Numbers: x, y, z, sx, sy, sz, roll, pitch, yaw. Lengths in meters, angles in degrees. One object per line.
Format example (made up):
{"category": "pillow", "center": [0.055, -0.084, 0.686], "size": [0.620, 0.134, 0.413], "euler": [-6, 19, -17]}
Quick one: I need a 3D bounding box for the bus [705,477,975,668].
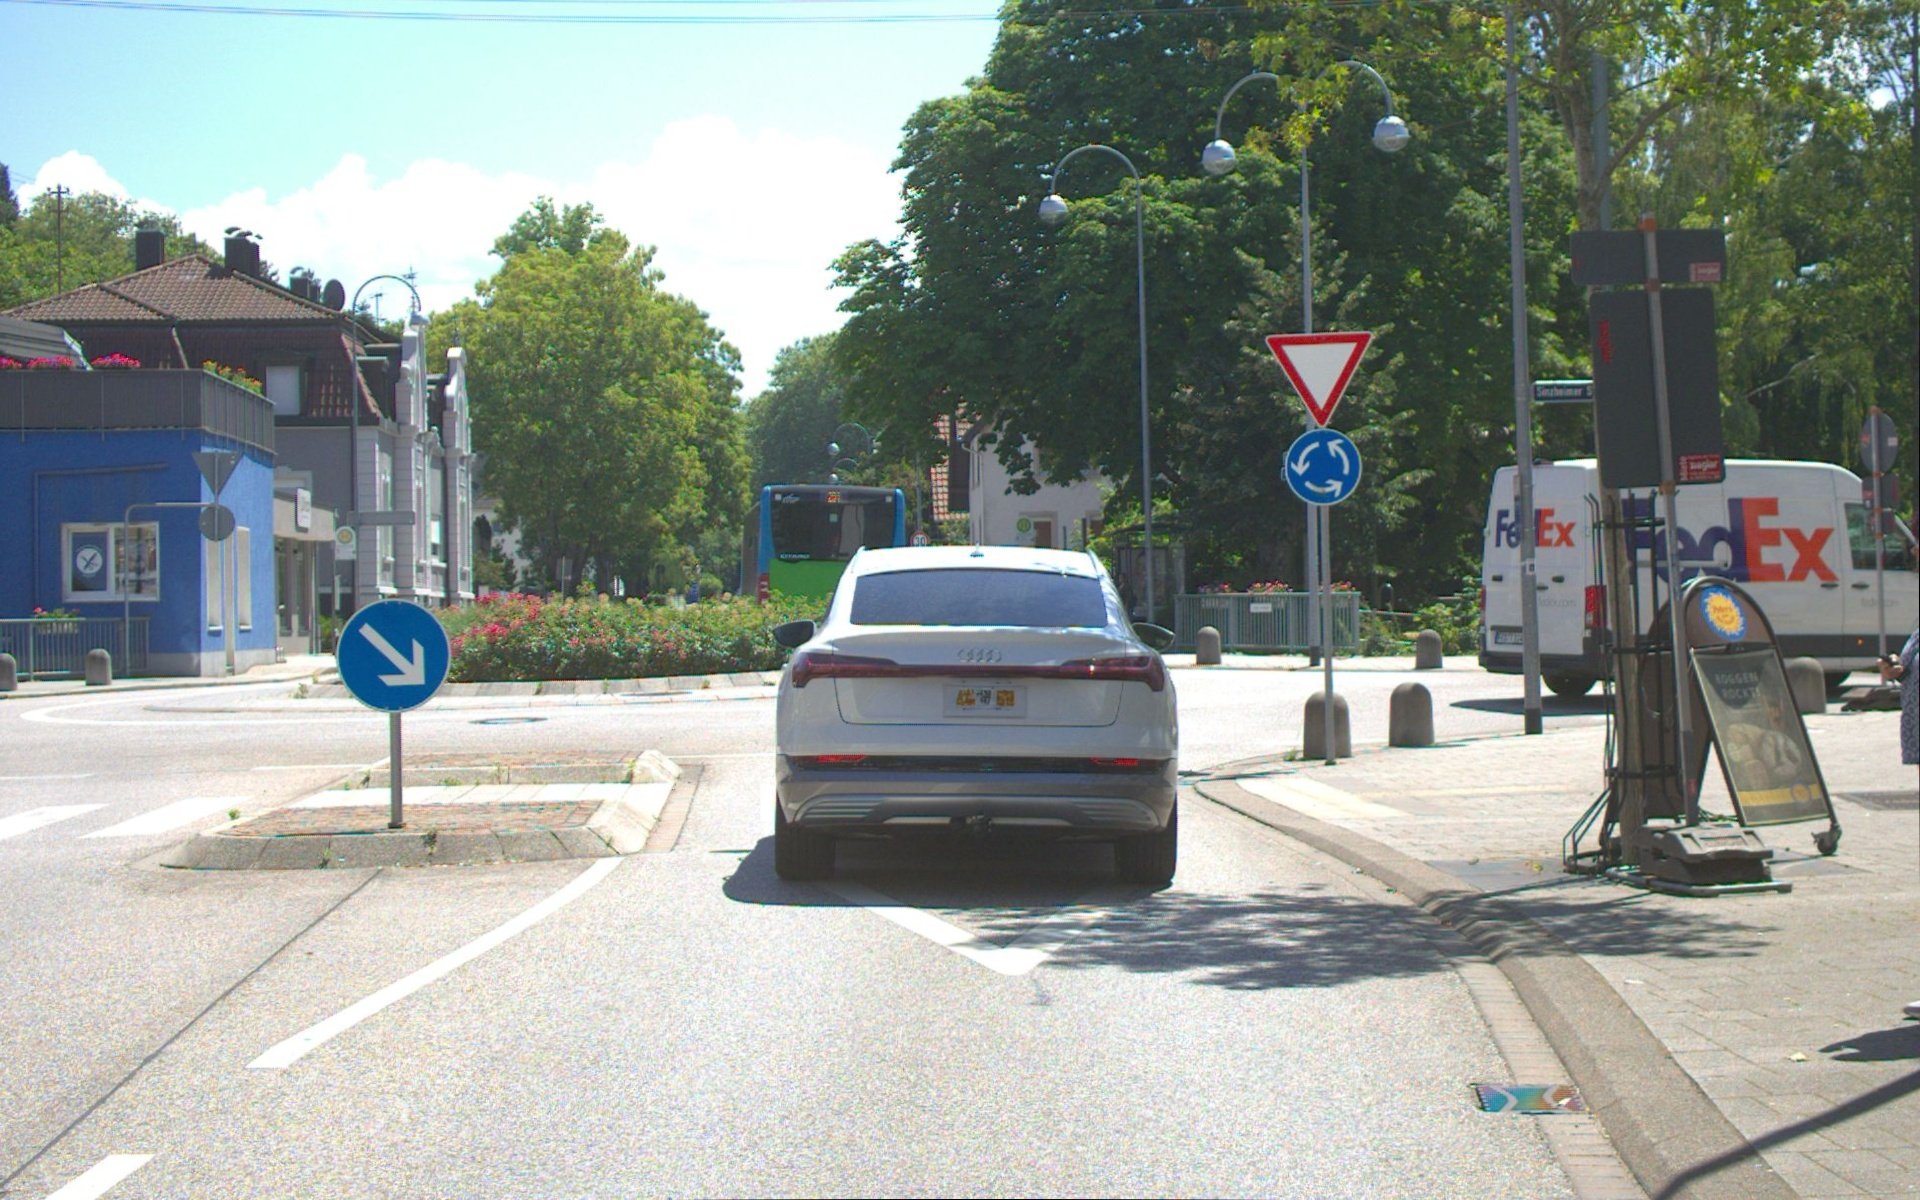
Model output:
{"category": "bus", "center": [-2.684, -0.462, 67.118], "size": [3.705, 3.160, 18.072], "euler": [1, 0, -7]}

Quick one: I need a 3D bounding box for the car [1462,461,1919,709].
{"category": "car", "center": [8.256, -0.239, 37.053], "size": [5.465, 2.472, 2.001], "euler": [-1, 4, -28]}

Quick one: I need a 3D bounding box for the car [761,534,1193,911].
{"category": "car", "center": [0.014, 0.526, 17.465], "size": [1.898, 1.656, 4.410], "euler": [1, 0, -2]}

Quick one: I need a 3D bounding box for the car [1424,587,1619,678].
{"category": "car", "center": [10.156, 0.570, 62.254], "size": [3.048, 1.547, 1.635], "euler": [-1, 1, -15]}

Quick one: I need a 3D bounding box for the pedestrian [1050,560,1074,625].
{"category": "pedestrian", "center": [2.596, -0.200, 87.575], "size": [0.502, 1.644, 0.580], "euler": [-1, 0, -8]}

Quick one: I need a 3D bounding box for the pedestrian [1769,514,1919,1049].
{"category": "pedestrian", "center": [2.950, 0.539, 10.632], "size": [0.732, 1.604, 0.559], "euler": [-1, 0, 0]}
